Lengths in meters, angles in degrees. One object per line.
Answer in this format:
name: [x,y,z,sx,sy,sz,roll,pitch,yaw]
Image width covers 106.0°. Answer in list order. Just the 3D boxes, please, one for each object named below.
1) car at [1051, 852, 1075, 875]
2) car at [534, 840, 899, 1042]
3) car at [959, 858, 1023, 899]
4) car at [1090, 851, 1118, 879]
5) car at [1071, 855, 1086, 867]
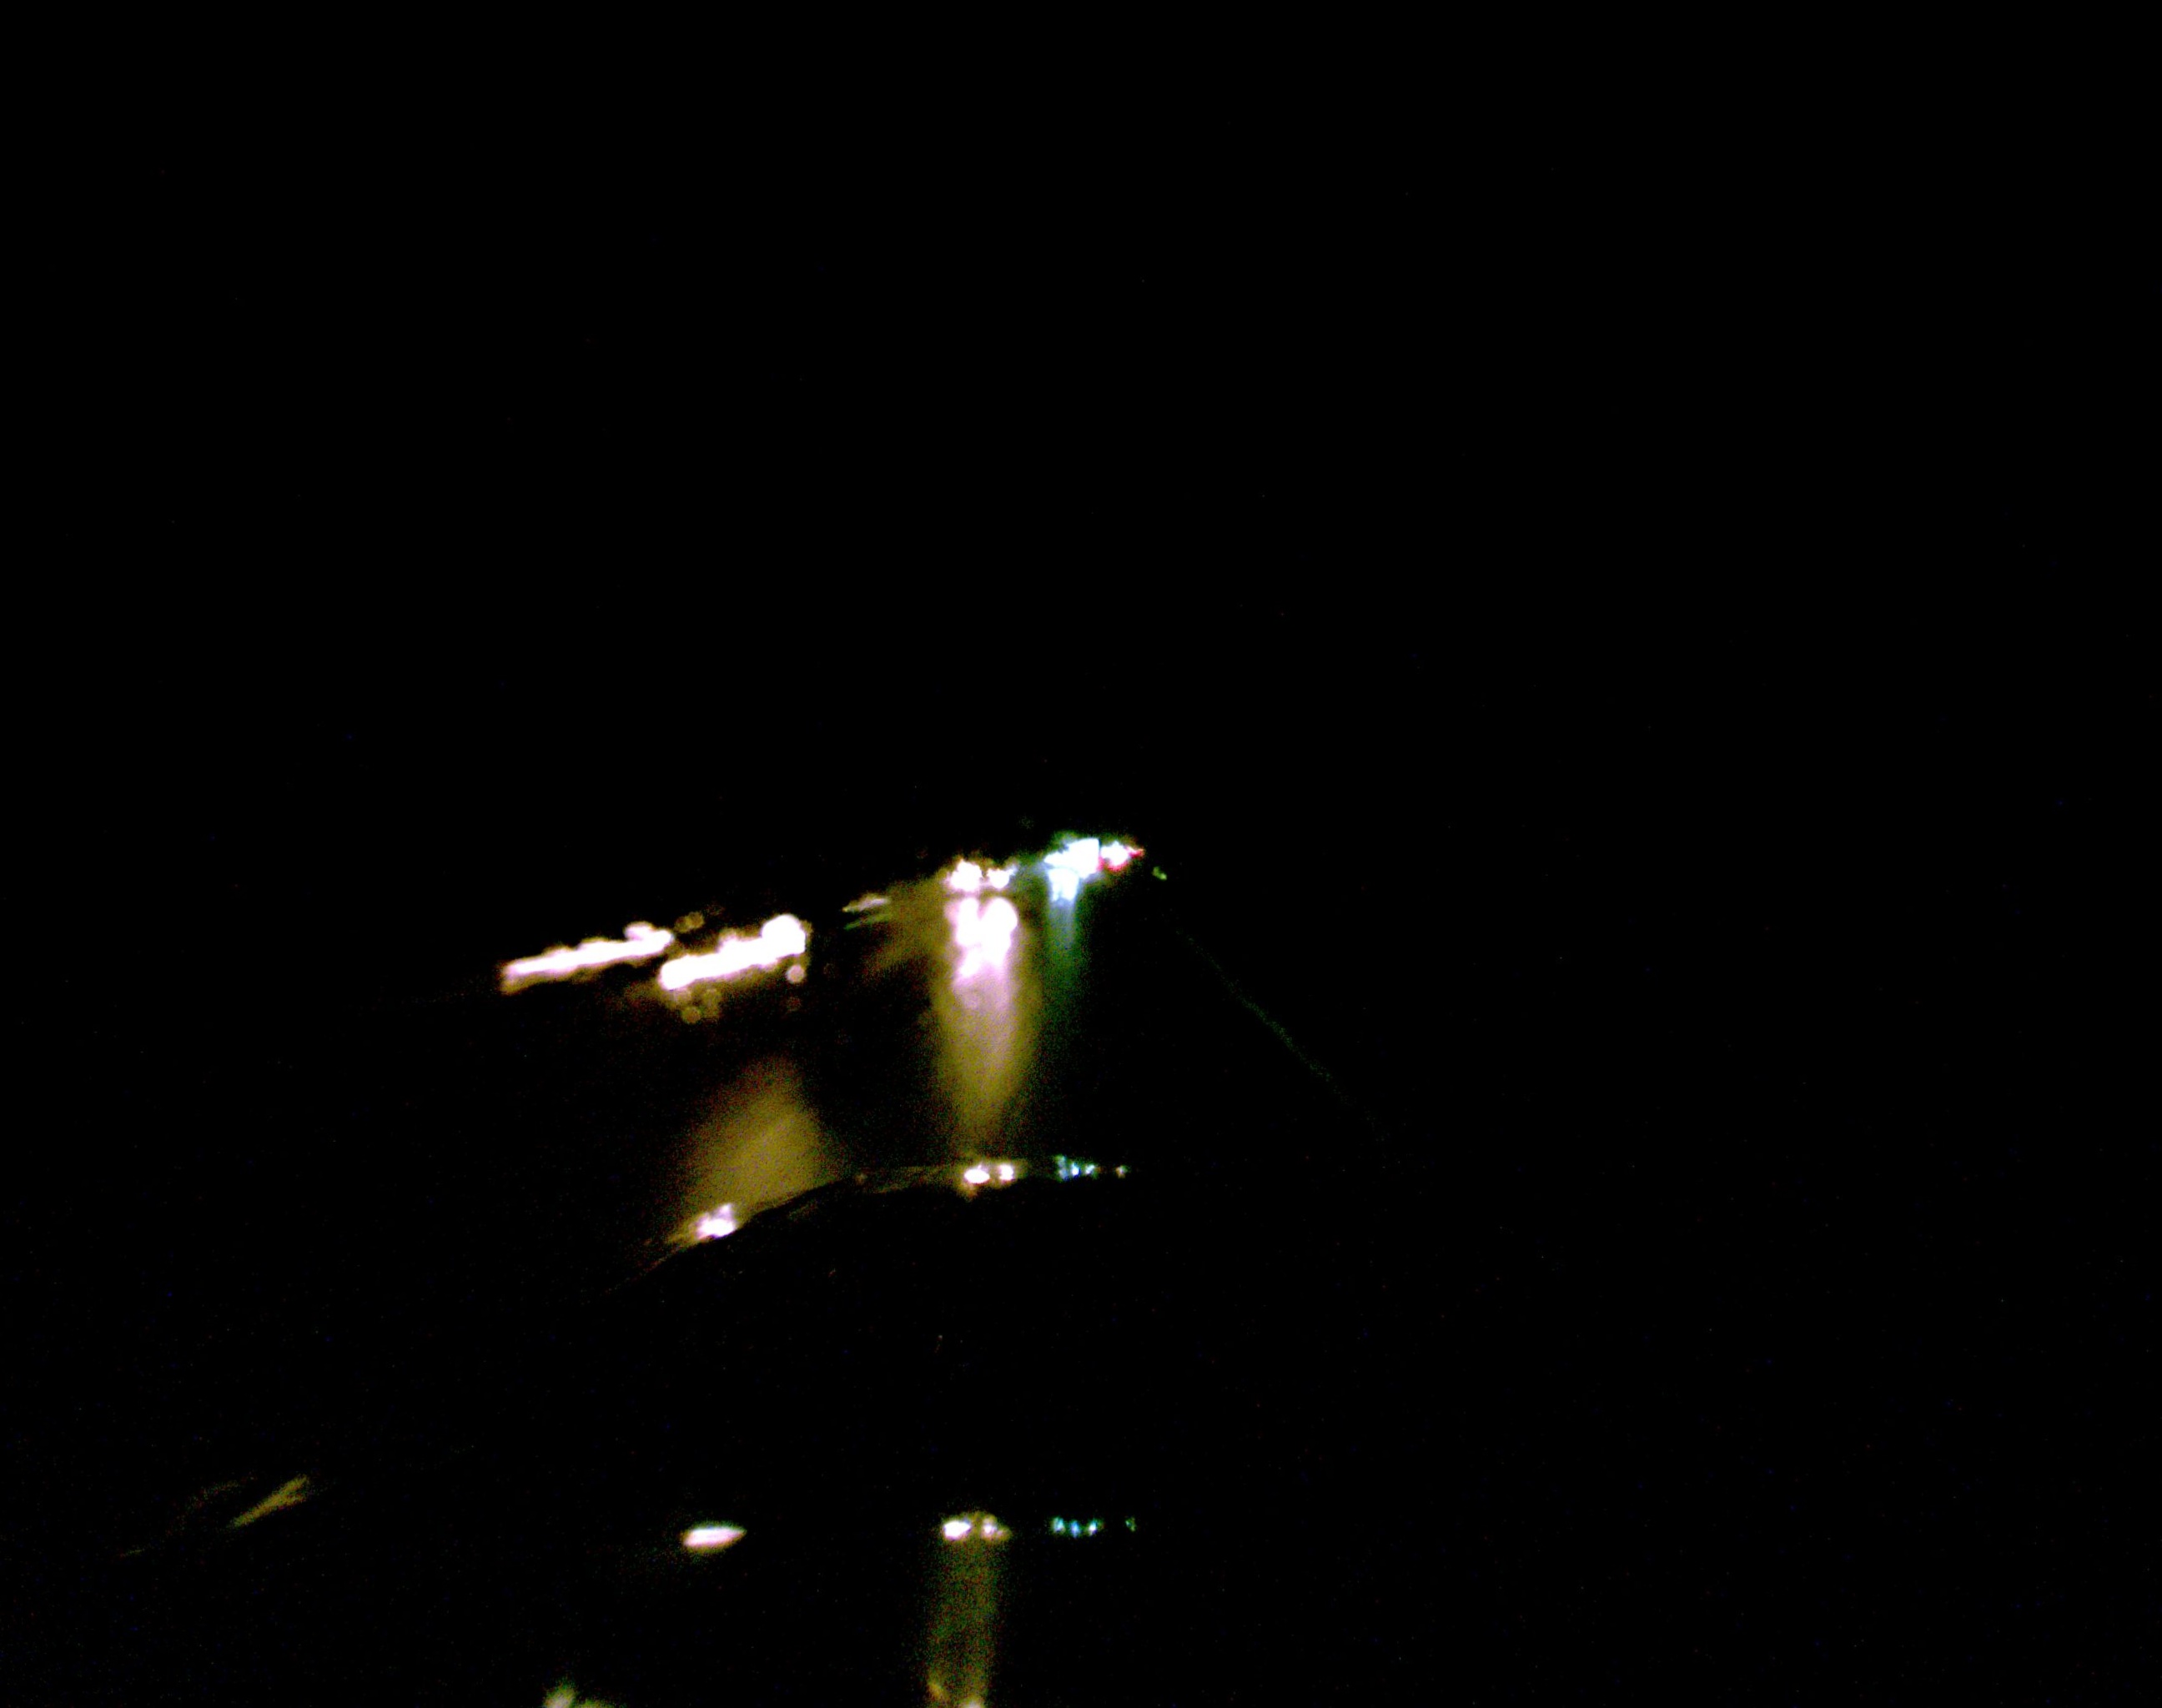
car: [-1.521,0.839,70.491,1.796,1.928,4.003,0,-1,3]
car: [-3.458,0.739,8.735,1.986,1.661,4.001,0,-1,2]
car: [-3.311,0.890,30.565,1.812,1.441,4.001,0,-1,2]
car: [1.517,0.689,55.198,1.836,1.740,4.000,1,1,0]
car: [-0.271,0.781,93.212,1.590,1.402,3.472,0,-1,2]
